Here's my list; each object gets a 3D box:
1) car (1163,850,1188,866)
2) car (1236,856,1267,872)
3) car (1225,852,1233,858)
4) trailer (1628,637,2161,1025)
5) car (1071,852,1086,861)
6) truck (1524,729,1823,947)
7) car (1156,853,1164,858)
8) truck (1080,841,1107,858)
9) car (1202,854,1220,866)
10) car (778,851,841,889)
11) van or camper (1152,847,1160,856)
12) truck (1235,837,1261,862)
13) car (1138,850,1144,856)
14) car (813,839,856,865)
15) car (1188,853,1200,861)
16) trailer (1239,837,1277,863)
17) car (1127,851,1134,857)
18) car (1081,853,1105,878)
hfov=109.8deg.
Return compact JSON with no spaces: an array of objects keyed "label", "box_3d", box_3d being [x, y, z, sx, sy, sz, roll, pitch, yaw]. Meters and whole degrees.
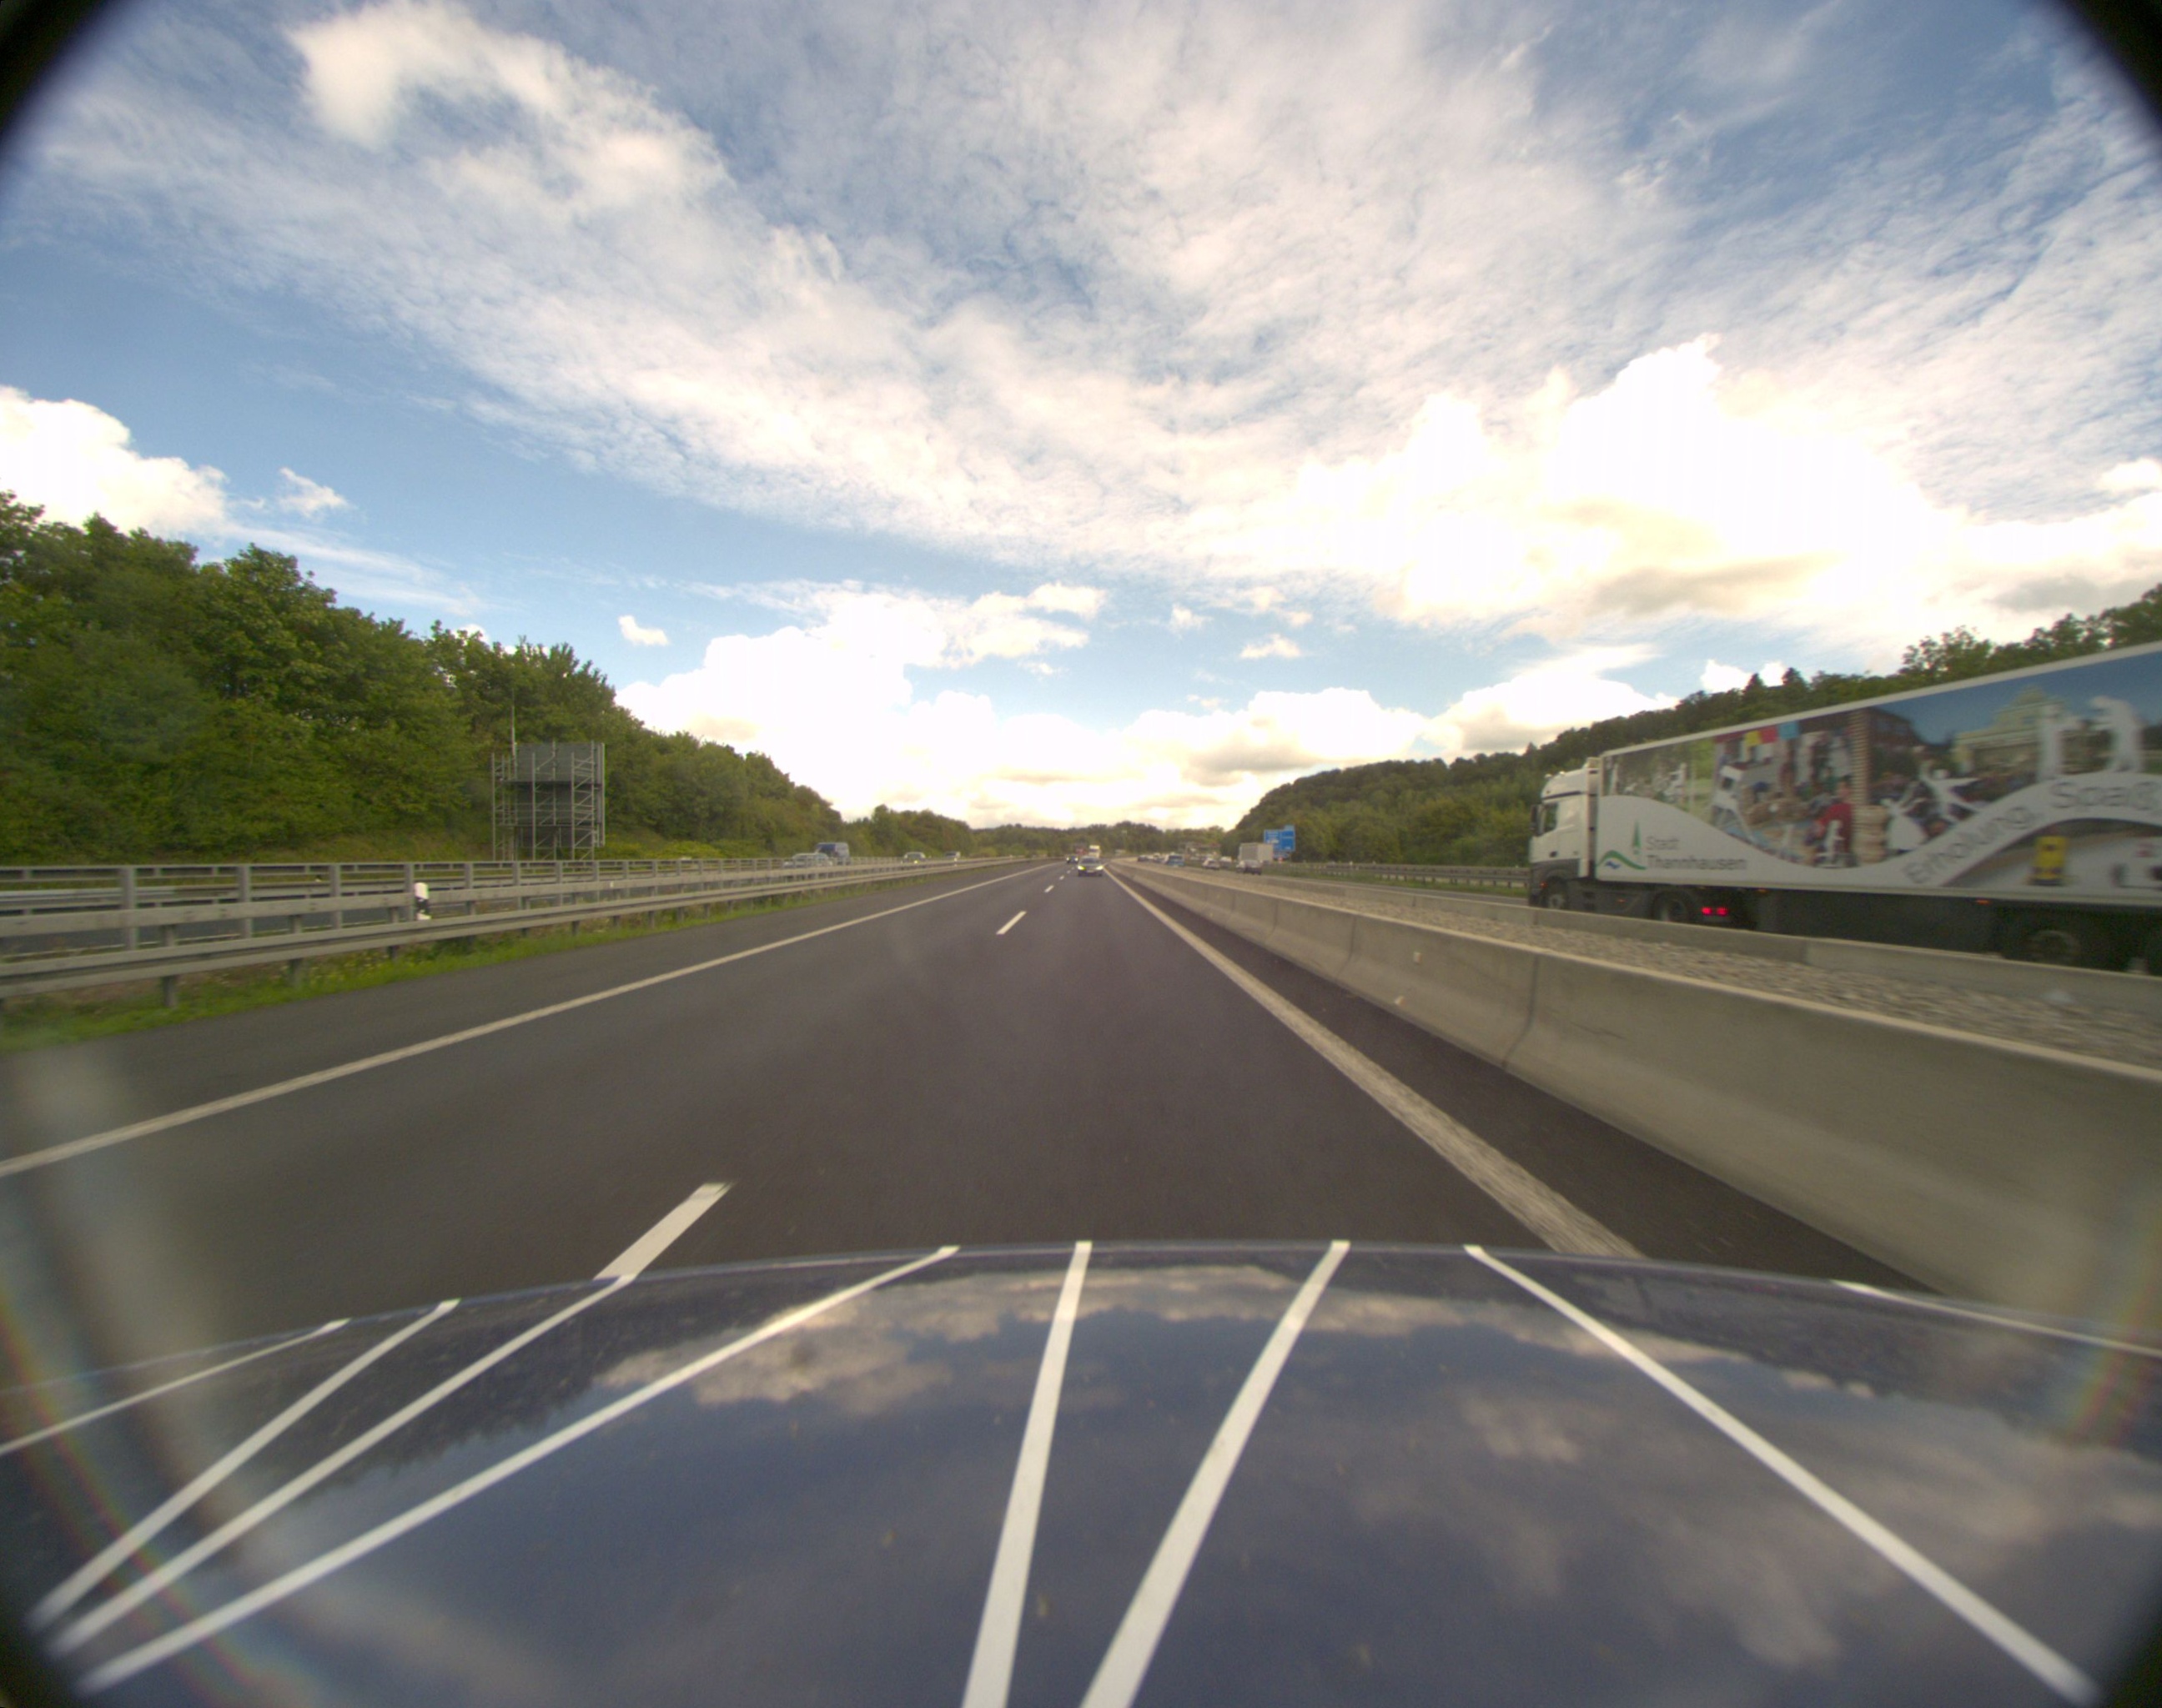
[{"label":"car","box_3d":[9.288,0.413,75.223,1.852,1.486,4.972,1,1,1]},{"label":"car","box_3d":[16.952,0.942,75.684,1.947,1.486,5.306,1,1,1]},{"label":"car","box_3d":[47.358,0.313,242.816,2.171,1.912,5.160,1,1,9]},{"label":"trailer","box_3d":[12.685,-0.243,9.296,2.494,4.105,13.281,1,1,1]},{"label":"car","box_3d":[-0.389,0.409,128.248,1.997,1.591,4.002,1,1,7]},{"label":"truck","box_3d":[12.768,-0.328,17.050,2.494,4.105,5.298,1,1,1]},{"label":"car","box_3d":[21.776,0.338,210.234,1.754,1.413,4.208,1,1,1]},{"label":"truck","box_3d":[3.513,-1.221,203.723,4.944,4.306,14.640,1,1,10]},{"label":"car","box_3d":[17.863,0.805,104.395,1.649,1.486,4.996,1,1,1]},{"label":"car","box_3d":[-15.028,0.839,42.240,1.998,2.002,4.000,1,1,1]},{"label":"van or camper","box_3d":[22.531,-0.838,228.422,2.104,2.521,5.425,1,1,7]},{"label":"truck","box_3d":[29.024,-0.797,132.261,3.159,4.042,6.286,1,1,1]},{"label":"car","box_3d":[17.158,-0.320,217.037,1.753,1.621,4.842,1,1,5]},{"label":"car","box_3d":[-20.838,-0.191,64.479,1.999,2.173,5.127,0,1,0]},{"label":"car","box_3d":[23.881,0.647,160.909,1.998,1.608,4.709,1,1,4]},{"label":"trailer","box_3d":[28.901,-0.699,124.748,3.159,4.070,13.385,1,1,1]},{"label":"car","box_3d":[13.596,-0.020,207.257,1.754,1.621,4.841,1,1,2]},{"label":"car","box_3d":[0.900,0.788,55.180,1.724,1.722,3.939,0,1,2]}]
